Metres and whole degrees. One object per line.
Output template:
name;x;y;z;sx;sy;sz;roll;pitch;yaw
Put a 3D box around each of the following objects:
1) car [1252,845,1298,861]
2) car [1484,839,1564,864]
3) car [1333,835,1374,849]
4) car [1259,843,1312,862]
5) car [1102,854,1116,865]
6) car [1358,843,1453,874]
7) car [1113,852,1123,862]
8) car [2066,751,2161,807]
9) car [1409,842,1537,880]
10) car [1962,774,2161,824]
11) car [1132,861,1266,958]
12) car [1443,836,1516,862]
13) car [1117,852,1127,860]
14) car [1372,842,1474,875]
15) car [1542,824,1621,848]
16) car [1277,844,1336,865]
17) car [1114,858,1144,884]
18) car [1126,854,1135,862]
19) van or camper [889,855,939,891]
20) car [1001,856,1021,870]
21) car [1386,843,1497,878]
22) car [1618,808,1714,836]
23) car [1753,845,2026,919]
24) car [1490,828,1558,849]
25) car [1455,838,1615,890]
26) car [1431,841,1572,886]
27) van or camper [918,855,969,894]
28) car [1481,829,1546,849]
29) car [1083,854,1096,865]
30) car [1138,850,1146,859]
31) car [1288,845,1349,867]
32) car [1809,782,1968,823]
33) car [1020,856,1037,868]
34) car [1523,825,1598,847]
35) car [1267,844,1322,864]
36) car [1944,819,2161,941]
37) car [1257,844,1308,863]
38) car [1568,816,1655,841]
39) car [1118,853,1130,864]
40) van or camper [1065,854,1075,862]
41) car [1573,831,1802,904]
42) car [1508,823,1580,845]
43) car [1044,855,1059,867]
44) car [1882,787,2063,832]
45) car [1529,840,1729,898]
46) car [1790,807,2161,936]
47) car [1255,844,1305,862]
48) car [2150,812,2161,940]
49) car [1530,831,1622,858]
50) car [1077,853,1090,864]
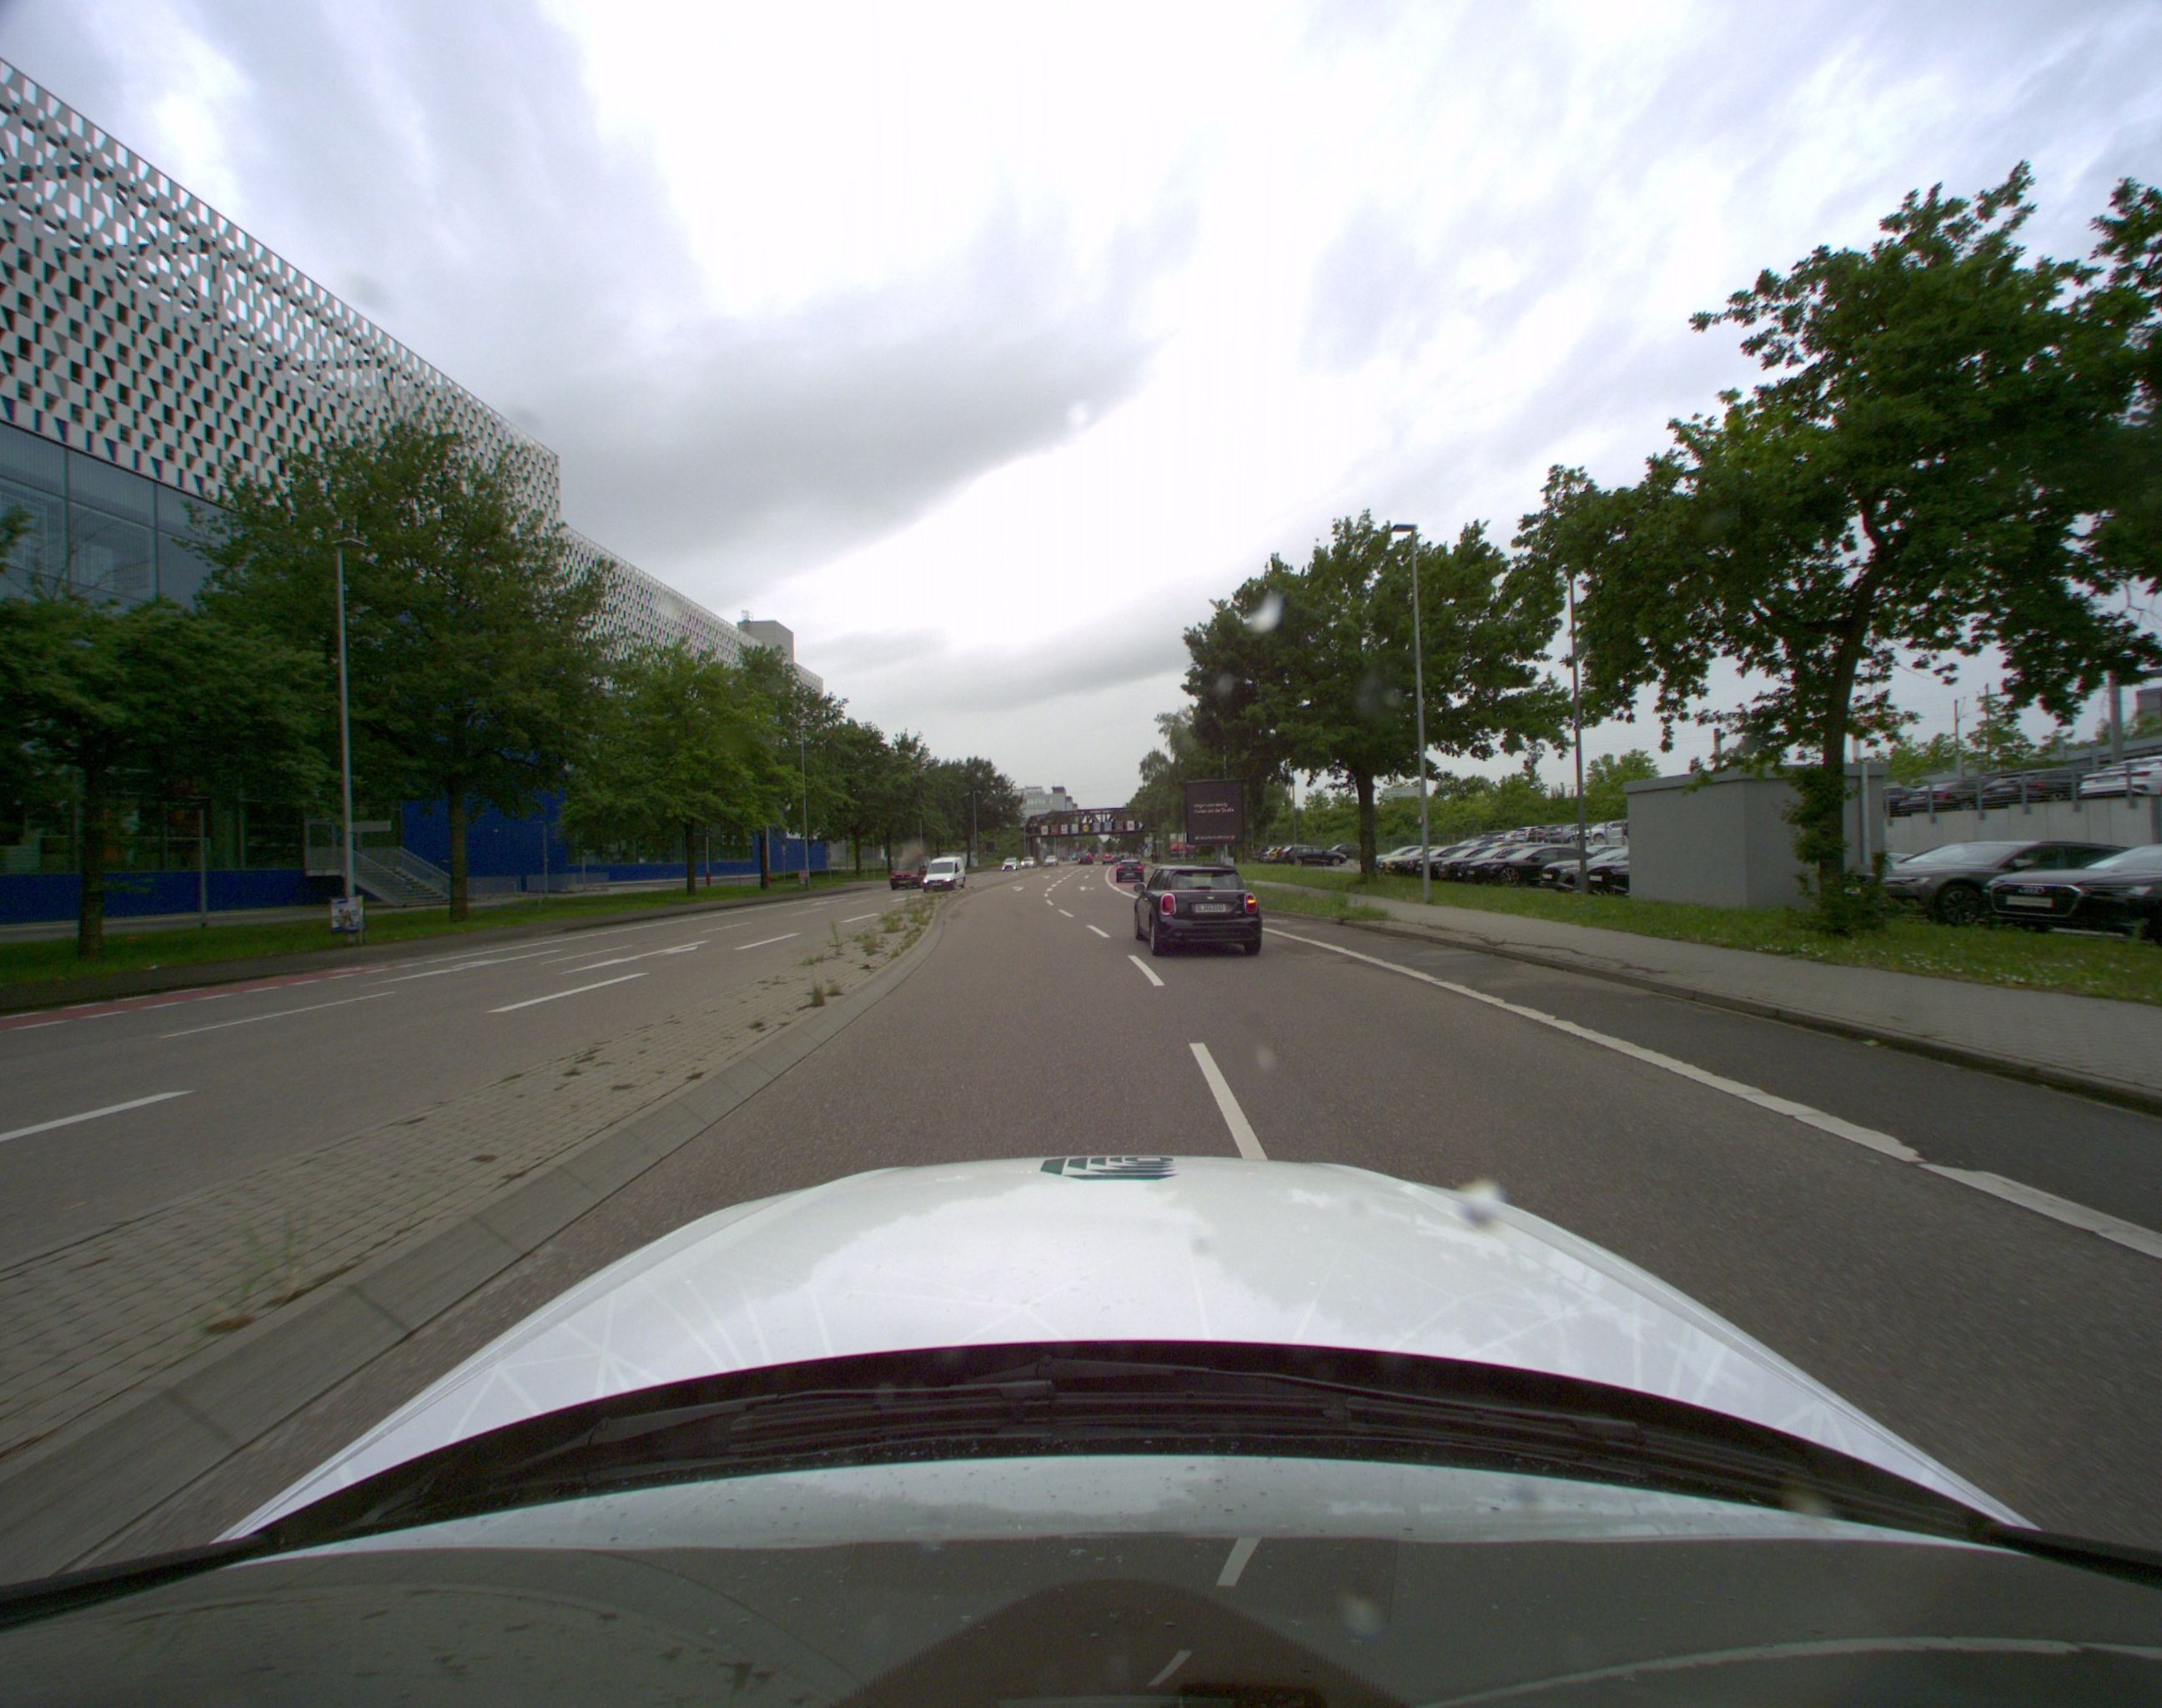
car;17.594;-0.102;73.971;3.963;1.435;1.735;0;2;9
car;27.438;-0.146;50.517;4.071;1.435;1.731;-1;2;1
car;29.903;-1.307;89.470;3.963;1.435;1.735;0;2;9
car;16.249;-0.100;64.802;3.963;1.435;1.735;0;2;9
car;4.658;0.835;135.665;2.125;1.661;3.788;-1;2;5
car;16.078;0.191;40.531;4.071;1.435;1.731;-1;2;1
car;7.570;0.667;166.339;1.941;1.815;4.006;-1;2;5
car;31.924;-2.182;23.660;4.320;1.496;1.883;-1;2;1
car;15.900;0.283;33.184;4.326;1.488;1.844;-1;0;2
car;32.047;-1.756;26.598;4.320;1.496;2.070;-1;2;1
car;1.863;0.848;13.880;1.780;1.416;3.643;1;-1;1
car;26.526;-0.348;54.299;4.071;1.620;1.731;-1;2;1
car;8.915;0.409;177.282;1.875;1.661;3.788;-1;2;5
car;15.990;0.182;38.213;4.071;1.435;1.847;-1;2;1
car;32.231;-1.157;52.485;4.071;1.435;1.731;-1;2;1
car;16.432;0.063;59.411;3.963;1.435;1.735;0;2;9
car;3.108;1.051;52.260;1.748;1.434;4.007;-2;1;6
car;11.617;0.872;190.882;1.941;1.815;4.006;-1;2;5
van or camper;-10.347;1.110;50.884;1.868;1.986;4.893;-3;1;2
car;-7.973;1.024;92.939;1.746;1.446;3.344;-1;2;5
car;15.788;0.270;35.811;4.071;1.435;1.823;-1;2;1
car;32.030;-1.741;44.675;4.071;1.435;1.731;-1;2;1
car;16.716;0.515;17.181;1.911;1.332;4.003;-2;0;3
car;32.604;-1.147;60.037;4.071;1.435;1.731;-1;2;1
car;15.667;0.331;28.284;4.428;1.571;2.001;2;0;2
car;15.817;0.347;30.817;4.326;1.503;1.930;2;0;2
van or camper;-7.215;1.041;43.167;1.749;1.747;4.407;-5;0;1
car;32.910;-1.132;62.060;4.071;1.435;1.731;-1;2;1
car;1.417;0.915;141.421;1.941;1.815;4.006;-1;2;5
car;13.984;0.054;186.565;1.941;1.815;4.006;-1;2;5
car;16.553;0.128;56.898;3.963;1.435;1.735;0;2;9
car;31.416;-1.982;31.767;4.320;1.496;1.883;-1;2;1
car;-6.941;1.057;108.152;1.711;1.371;3.445;-1;2;5
car;32.316;-1.219;54.990;4.071;1.435;1.731;-1;2;1
car;16.316;0.012;62.442;3.963;1.435;1.735;0;2;9
car;14.772;0.412;10.891;4.158;1.445;1.962;4;2;3
car;16.788;-0.040;67.960;3.963;1.435;1.735;0;2;9
car;32.426;-1.555;49.847;4.184;1.435;1.731;-1;2;1
car;7.626;0.802;143.234;1.875;1.661;3.788;-1;2;5
van or camper;-3.339;1.173;247.361;1.981;2.485;7.046;-2;0;9
car;15.185;0.322;20.602;4.241;1.565;2.002;2;0;3
car;32.694;-1.419;57.567;4.071;1.435;1.731;-1;2;1
car;-4.557;1.037;127.101;1.931;1.675;3.788;-1;2;5
car;31.821;-1.565;29.170;4.320;1.496;1.971;-1;2;1
car;15.378;0.418;23.067;4.274;1.392;2.002;2;0;3
car;14.981;0.257;13.488;4.530;1.701;2.002;4;2;3
car;17.028;-0.092;69.822;3.963;1.435;1.735;0;2;9
car;14.725;0.403;8.478;4.275;1.504;2.031;4;1;3
car;27.378;-0.533;45.153;4.071;1.435;1.731;-1;2;1
car;0.460;0.782;134.637;1.875;1.661;3.788;-1;2;5
